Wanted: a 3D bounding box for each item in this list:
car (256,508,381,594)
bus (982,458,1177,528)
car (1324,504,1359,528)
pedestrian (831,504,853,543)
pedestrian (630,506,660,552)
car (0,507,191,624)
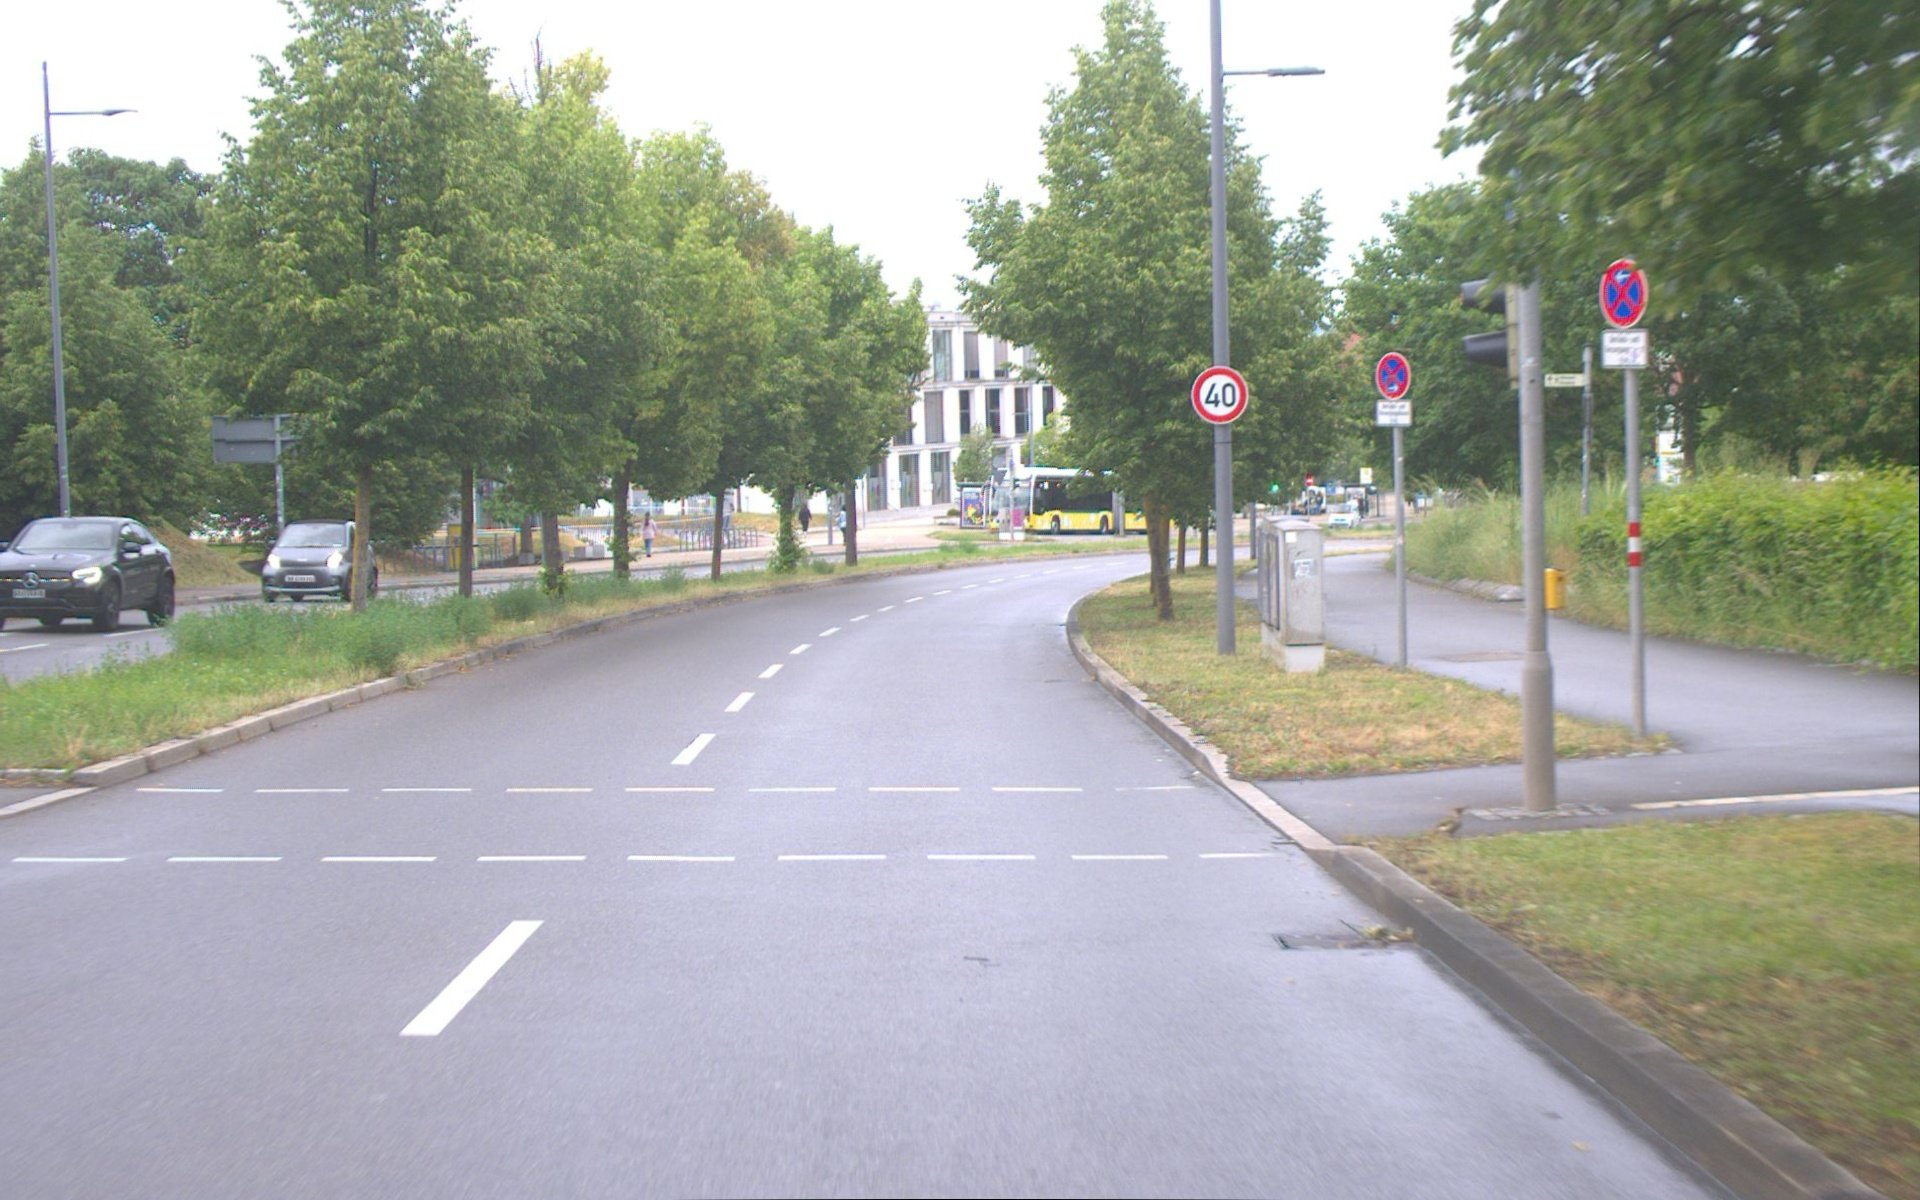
[{"bbox_3d":[-12.133,-0.946,65.185,1.686,1.534,2.916,0,2,3],"label":"car"},{"bbox_3d":[6.508,-5.550,180.898,2.789,3.345,18.199,0,1,27],"label":"bus"},{"bbox_3d":[24.367,-5.362,219.499,1.480,1.489,2.527,0,1,25],"label":"car"},{"bbox_3d":[-4.741,-3.074,138.386,0.834,1.568,0.719,0,0,-5],"label":"pedestrian"},{"bbox_3d":[-11.093,-2.494,121.072,0.814,1.615,0.935,0,0,12],"label":"pedestrian"},{"bbox_3d":[-12.626,-0.527,49.383,1.881,1.589,4.766,1,1,3],"label":"car"}]
